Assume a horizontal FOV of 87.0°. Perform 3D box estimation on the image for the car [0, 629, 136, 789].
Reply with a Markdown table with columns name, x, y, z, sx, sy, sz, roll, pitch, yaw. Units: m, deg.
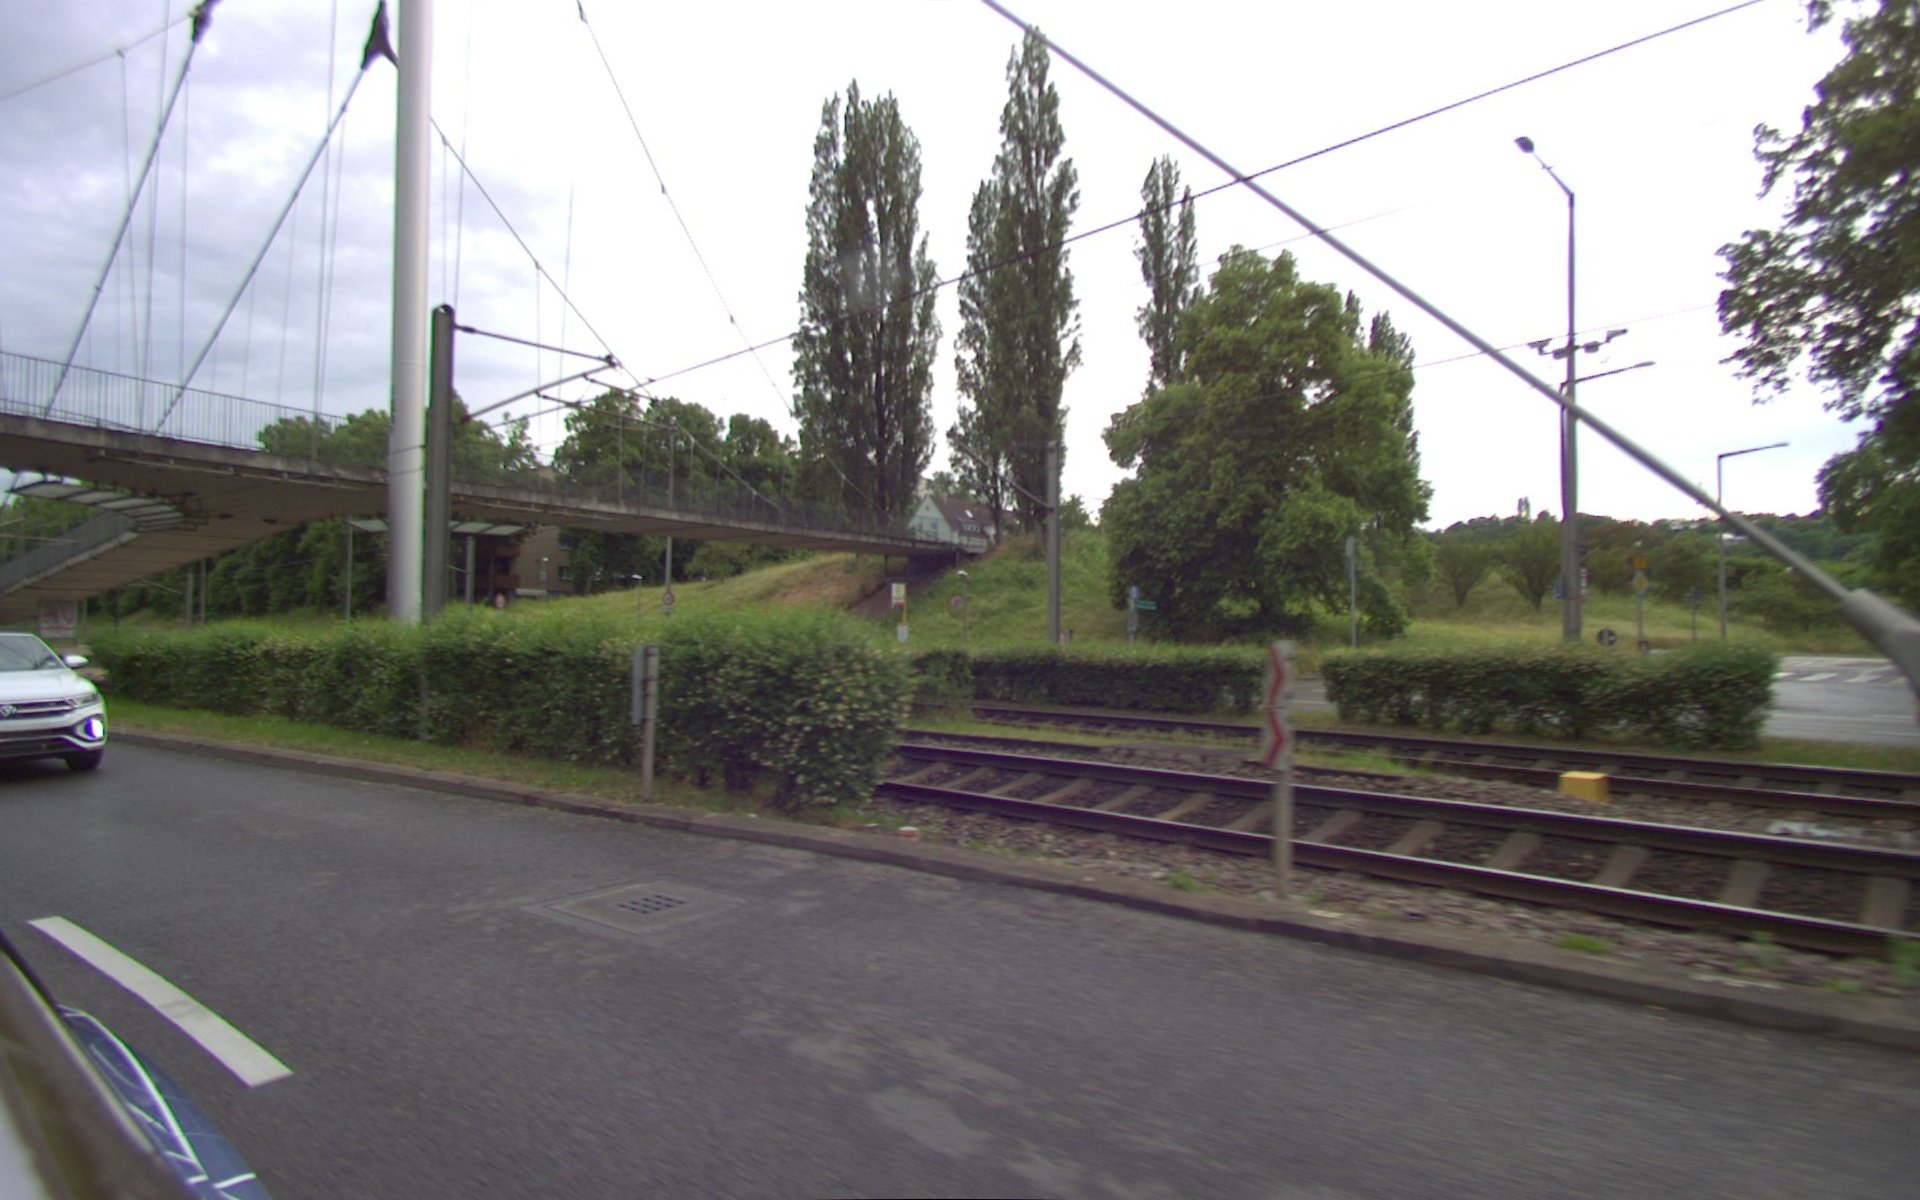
| name | x | y | z | sx | sy | sz | roll | pitch | yaw |
| --- | --- | --- | --- | --- | --- | --- | --- | --- | --- |
| car | -10.957 | 1.094 | 10.932 | 4.687 | 1.476 | 1.939 | -2 | -1 | 34 |

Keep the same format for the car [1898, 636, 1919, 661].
| name | x | y | z | sx | sy | sz | roll | pitch | yaw |
| --- | --- | --- | --- | --- | --- | --- | --- | --- | --- |
| car | 58.604 | 2.884 | 60.417 | 3.934 | 1.378 | 1.891 | 0 | 0 | -11 |

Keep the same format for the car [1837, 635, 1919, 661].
| name | x | y | z | sx | sy | sz | roll | pitch | yaw |
| --- | --- | --- | --- | --- | --- | --- | --- | --- | --- |
| car | 54.082 | 2.828 | 59.442 | 3.934 | 1.378 | 1.892 | 0 | 0 | -12 |
